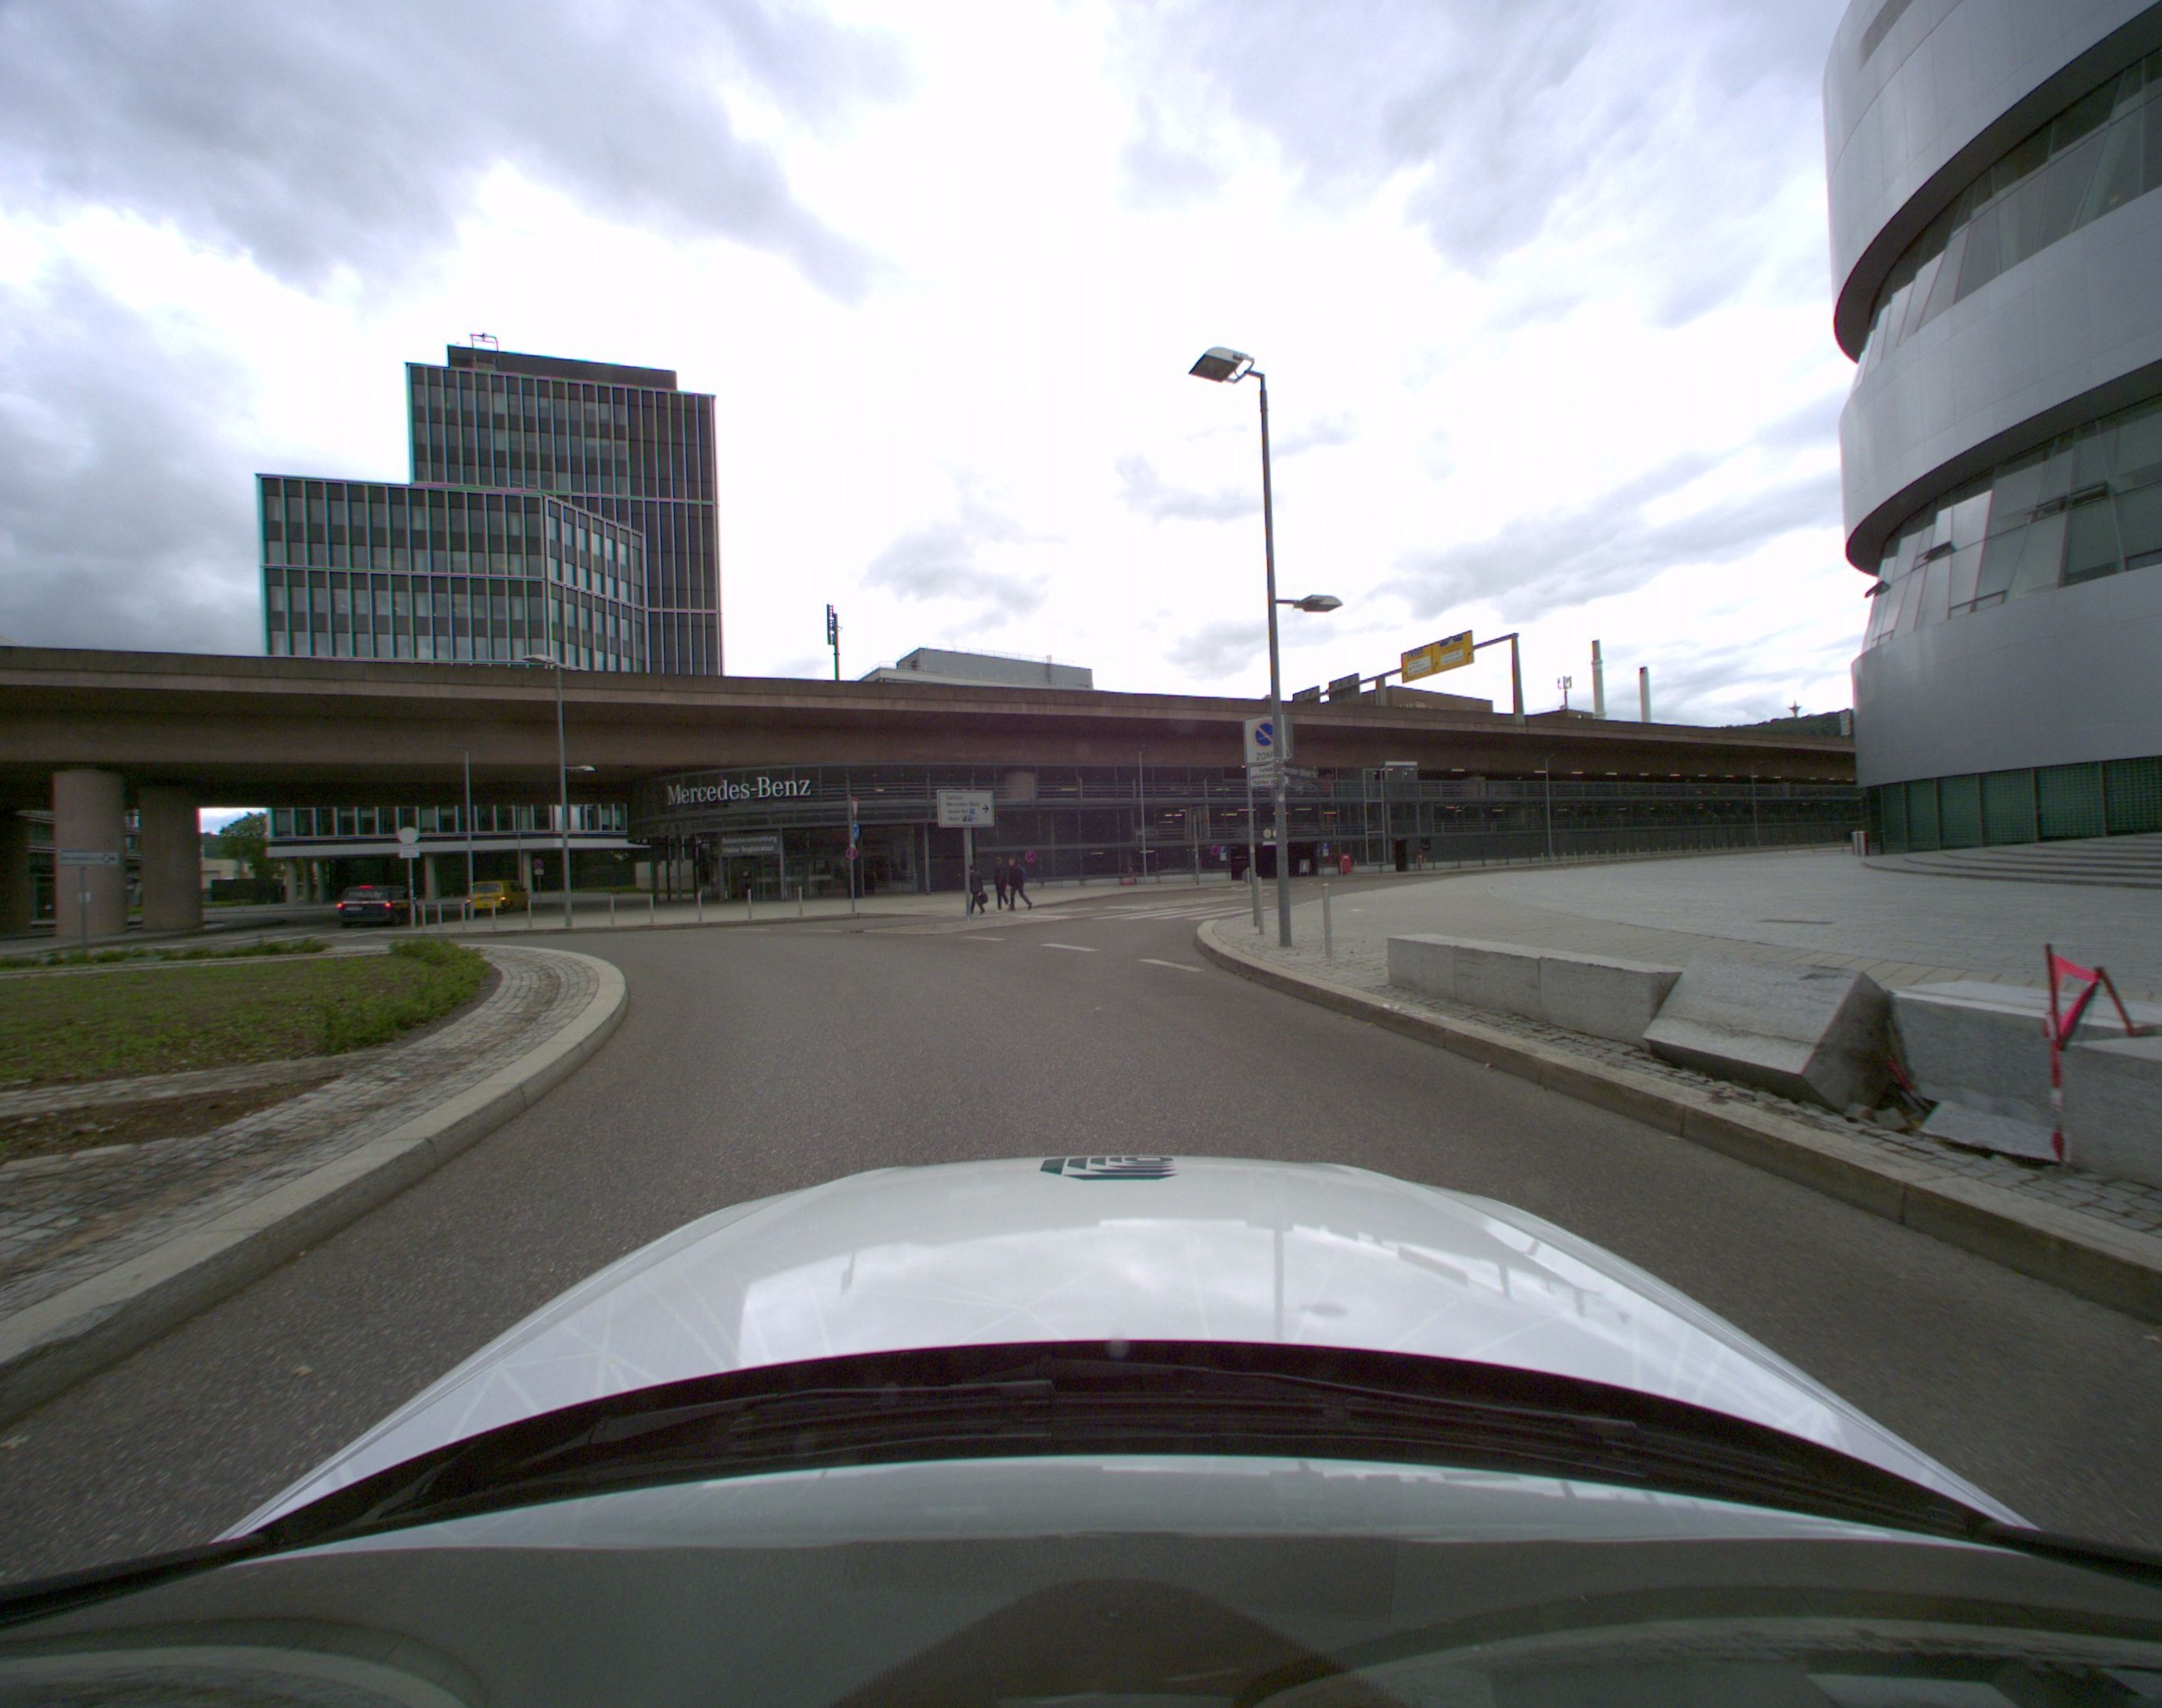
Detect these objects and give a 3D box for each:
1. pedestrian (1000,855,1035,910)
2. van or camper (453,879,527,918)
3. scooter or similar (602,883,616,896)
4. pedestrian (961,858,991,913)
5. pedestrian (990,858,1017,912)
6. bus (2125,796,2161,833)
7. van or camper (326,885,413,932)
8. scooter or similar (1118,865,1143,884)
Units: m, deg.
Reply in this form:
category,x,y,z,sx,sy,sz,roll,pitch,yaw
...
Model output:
category,x,y,z,sx,sy,sz,roll,pitch,yaw
pedestrian,-2.144,0.947,27.538,0.869,1.798,0.775,-1,-1,-33
van or camper,-34.090,2.496,47.121,2.364,1.999,4.472,-1,0,-21
scooter or similar,-41.914,3.171,72.374,0.705,1.105,1.482,-1,-1,-45
pedestrian,-3.365,0.998,26.208,0.860,1.705,0.772,-1,-1,-2
pedestrian,-2.513,1.006,26.541,0.782,1.705,0.772,-1,-1,-1
bus,106.767,-3.880,80.737,6.986,3.441,2.905,-1,-1,-29
van or camper,-33.046,2.457,37.984,2.161,1.893,4.853,-1,0,-30
scooter or similar,2.940,1.220,48.325,1.429,1.123,0.378,-1,-1,-23
